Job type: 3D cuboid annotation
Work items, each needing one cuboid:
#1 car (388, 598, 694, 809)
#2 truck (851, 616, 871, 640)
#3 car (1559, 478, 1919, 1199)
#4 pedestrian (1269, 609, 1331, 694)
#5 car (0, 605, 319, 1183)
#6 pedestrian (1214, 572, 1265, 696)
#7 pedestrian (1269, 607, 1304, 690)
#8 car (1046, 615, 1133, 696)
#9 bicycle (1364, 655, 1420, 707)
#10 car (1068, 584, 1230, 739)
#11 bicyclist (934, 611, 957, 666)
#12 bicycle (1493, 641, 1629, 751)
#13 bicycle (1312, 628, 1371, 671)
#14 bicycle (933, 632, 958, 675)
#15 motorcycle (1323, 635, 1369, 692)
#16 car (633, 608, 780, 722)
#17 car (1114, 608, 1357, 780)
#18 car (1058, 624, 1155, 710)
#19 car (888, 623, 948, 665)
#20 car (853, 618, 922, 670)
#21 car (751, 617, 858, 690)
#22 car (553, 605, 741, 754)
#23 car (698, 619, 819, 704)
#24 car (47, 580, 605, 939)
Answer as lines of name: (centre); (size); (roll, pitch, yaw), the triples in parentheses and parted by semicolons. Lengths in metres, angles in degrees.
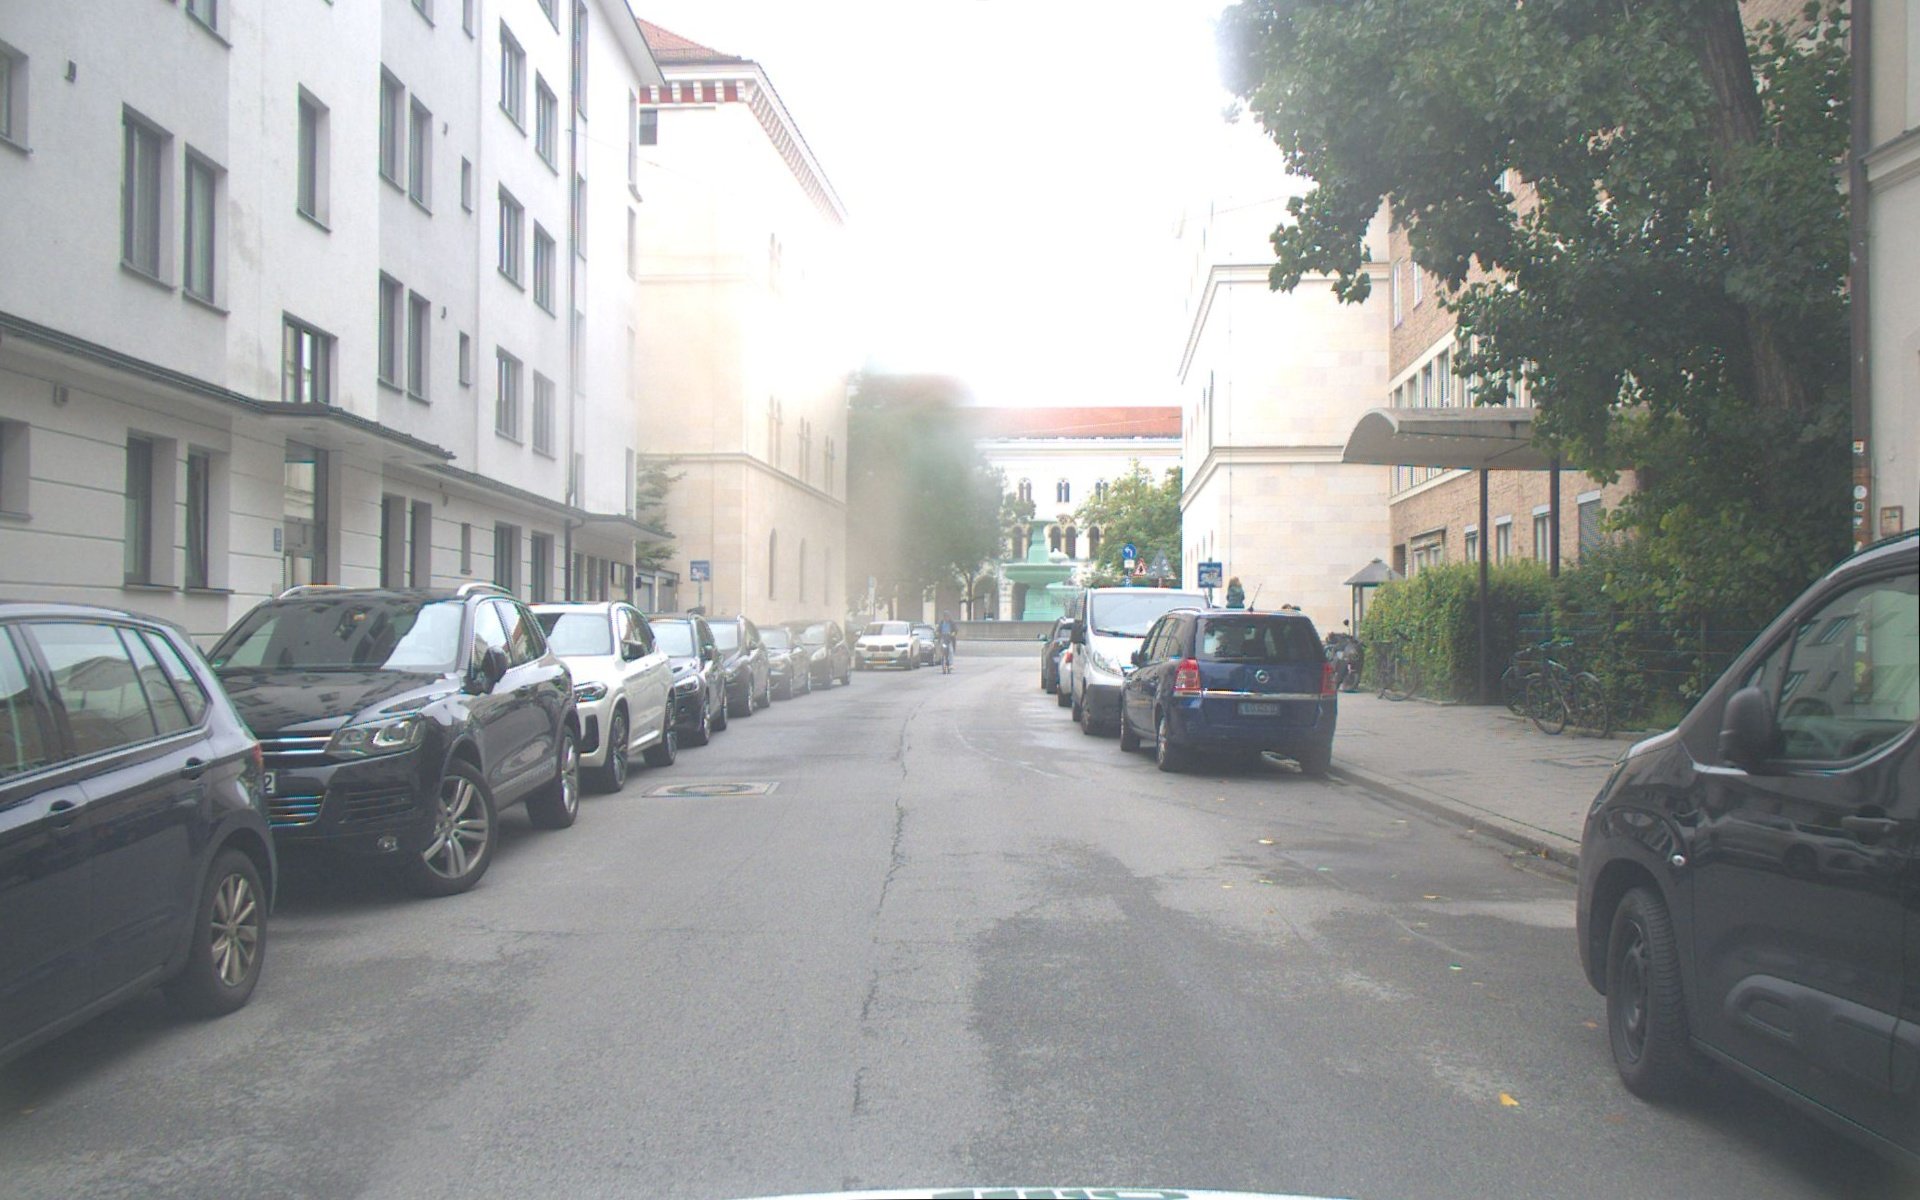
car: (-3.817, 0.850, 15.911); (1.834, 1.687, 4.589); (-1, 0, -1)
truck: (-10.626, 2.964, 177.234); (1.955, 2.532, 3.994); (1, 0, -6)
car: (3.097, 0.656, 3.881); (1.809, 1.807, 4.200); (2, -1, 0)
pedestrian: (6.383, 0.961, 31.074); (0.934, 1.574, 0.671); (0, -1, -17)
car: (-3.511, 0.828, 4.801); (1.737, 1.566, 4.158); (-1, 0, -1)
pedestrian: (5.153, 0.622, 30.525); (0.777, 2.236, 0.813); (1, -1, -1)
pedestrian: (6.631, 0.970, 33.586); (0.575, 1.661, 0.877); (1, -1, 4)
car: (2.743, 1.162, 35.794); (1.711, 1.622, 3.957); (1, -1, 2)
bicycle: (7.483, 1.387, 28.671); (0.506, 0.832, 1.432); (0, -1, -4)
car: (2.564, 0.802, 23.488); (1.843, 1.958, 4.875); (0, -1, 1)
bicyclist: (-0.424, 1.123, 48.329); (0.643, 1.578, 0.887); (0, -1, 2)
bicycle: (6.562, 1.017, 18.195); (0.656, 1.092, 2.223); (0, -1, -1)
bicycle: (9.736, 1.271, 42.189); (1.399, 1.060, 0.348); (-1, -1, 3)
bicycle: (-0.413, 1.548, 48.193); (0.635, 1.218, 1.950); (-1, -1, 2)
motorcycle: (7.676, 1.249, 32.930); (0.478, 1.072, 1.924); (1, 0, 0)
car: (-4.118, 1.009, 27.434); (1.834, 1.687, 4.079); (-1, 0, -1)
car: (2.817, 0.909, 17.824); (1.771, 1.628, 4.213); (0, -1, -2)
car: (2.676, 1.199, 30.969); (1.638, 1.442, 4.202); (1, -1, 3)
car: (-1.458, 1.577, 59.245); (1.662, 1.417, 4.213); (-1, -2, 5)
car: (-2.265, 1.398, 52.894); (1.741, 1.562, 4.213); (-1, -2, 3)
car: (-3.483, 1.184, 37.623); (1.713, 1.479, 4.017); (-1, 0, 5)
car: (-3.997, 0.942, 21.810); (1.835, 1.687, 4.587); (-1, 0, -4)
car: (-3.939, 1.168, 32.865); (1.714, 1.479, 4.016); (-1, 0, 2)
car: (-3.608, 0.781, 10.420); (1.834, 1.717, 4.519); (-1, 0, -1)
